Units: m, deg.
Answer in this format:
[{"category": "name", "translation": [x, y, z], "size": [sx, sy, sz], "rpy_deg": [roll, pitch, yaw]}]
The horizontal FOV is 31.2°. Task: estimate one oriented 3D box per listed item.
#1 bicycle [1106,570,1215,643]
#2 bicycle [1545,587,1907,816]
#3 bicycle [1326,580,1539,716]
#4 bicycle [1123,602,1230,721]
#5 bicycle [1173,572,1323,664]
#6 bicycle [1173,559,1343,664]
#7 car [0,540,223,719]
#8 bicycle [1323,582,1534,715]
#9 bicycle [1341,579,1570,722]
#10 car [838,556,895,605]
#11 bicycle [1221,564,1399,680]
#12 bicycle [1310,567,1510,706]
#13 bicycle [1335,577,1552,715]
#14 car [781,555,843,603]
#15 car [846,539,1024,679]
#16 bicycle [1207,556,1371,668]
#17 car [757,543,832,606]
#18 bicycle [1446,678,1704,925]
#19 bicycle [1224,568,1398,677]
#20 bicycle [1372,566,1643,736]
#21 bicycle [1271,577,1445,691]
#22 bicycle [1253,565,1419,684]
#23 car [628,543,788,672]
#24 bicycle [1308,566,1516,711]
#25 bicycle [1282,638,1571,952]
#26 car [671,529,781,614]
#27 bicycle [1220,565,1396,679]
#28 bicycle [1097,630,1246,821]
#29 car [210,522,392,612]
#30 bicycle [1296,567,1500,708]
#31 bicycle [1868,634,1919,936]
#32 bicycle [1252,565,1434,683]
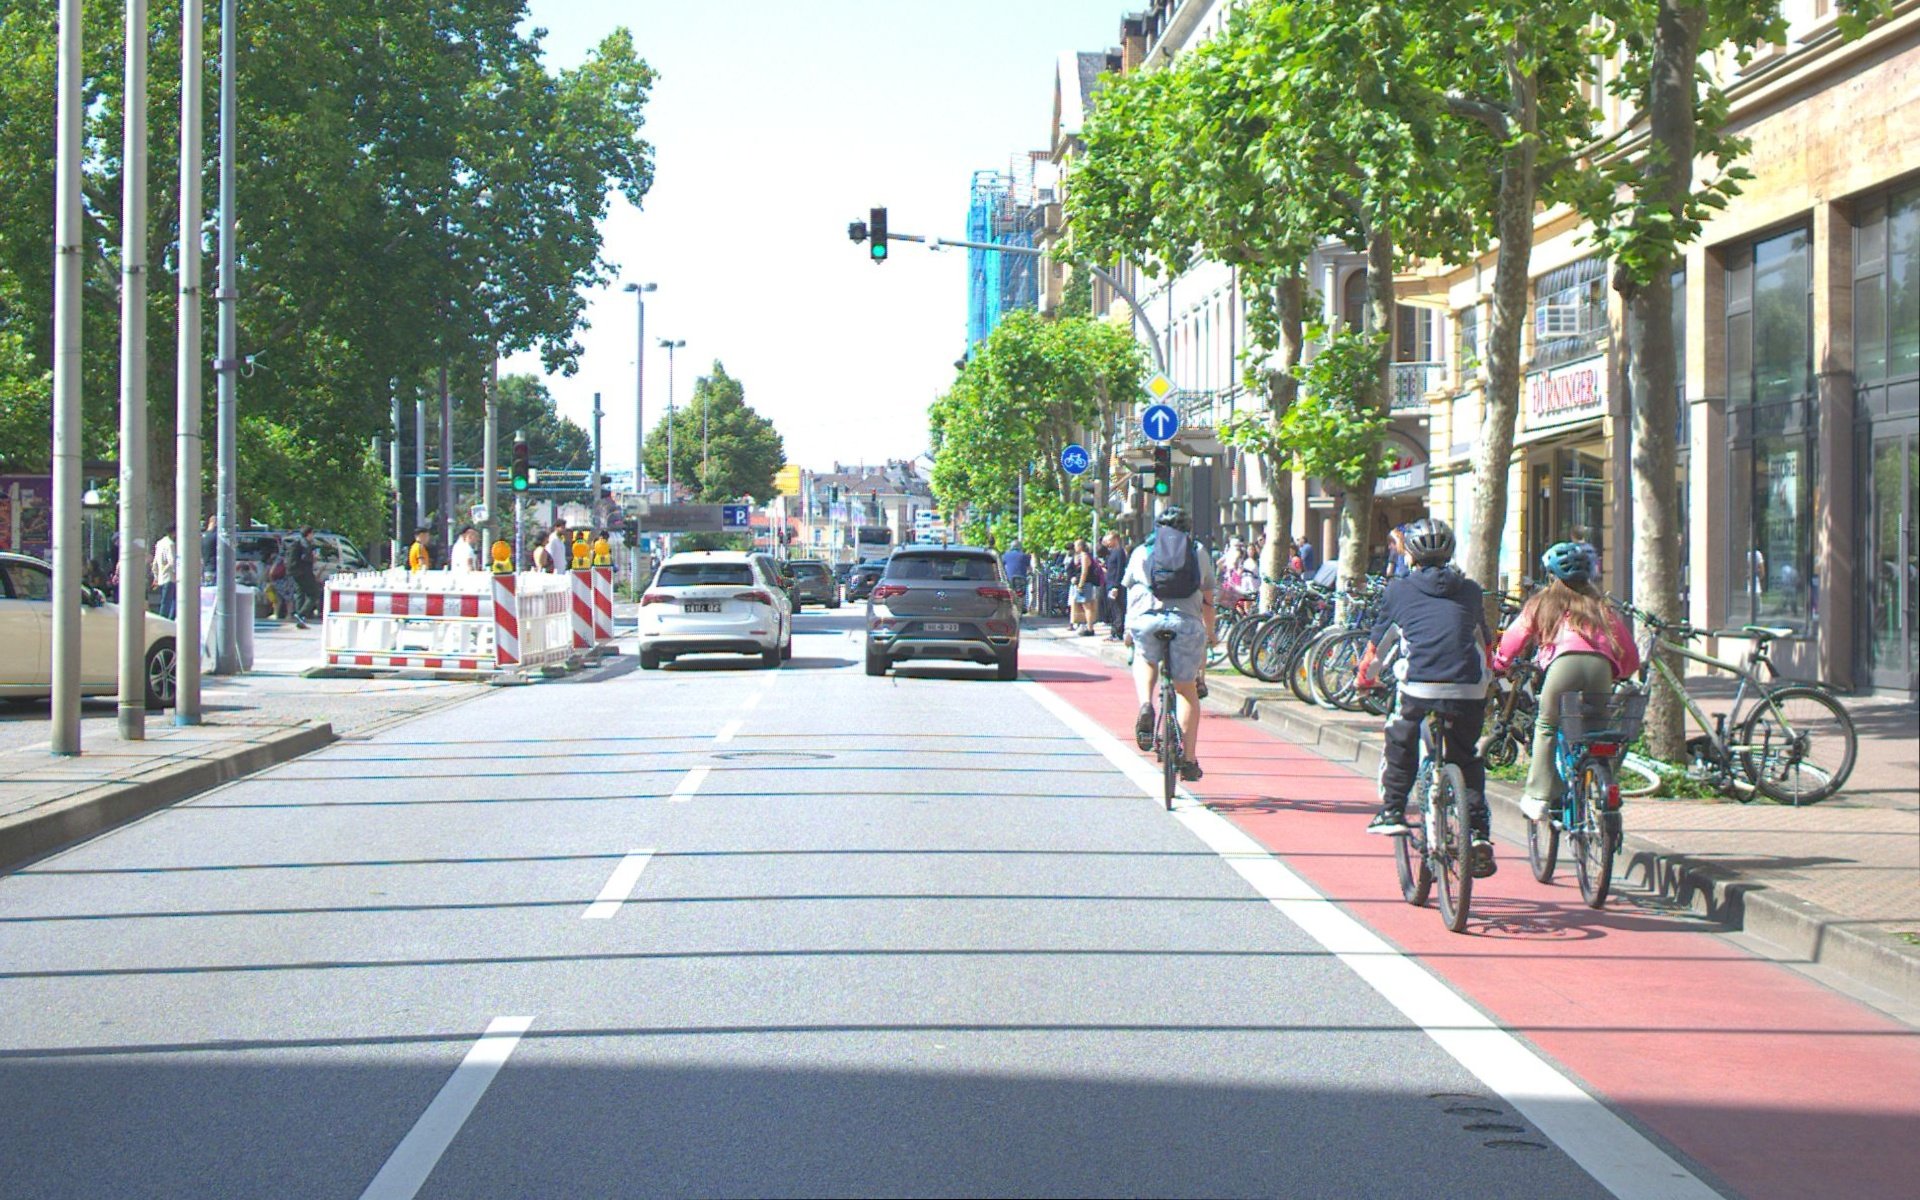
[{"category": "bicycle", "translation": [3.054, 0.091, 52.484], "size": [0.600, 1.078, 1.839], "rpy_deg": [-2, 1, -36]}, {"category": "bicycle", "translation": [4.233, 0.552, 19.100], "size": [1.840, 1.182, 0.670], "rpy_deg": [2, 1, 4]}, {"category": "bicycle", "translation": [3.970, 0.399, 28.944], "size": [1.728, 1.105, 0.402], "rpy_deg": [1, 1, 1]}, {"category": "bicycle", "translation": [1.969, 0.545, 31.548], "size": [0.774, 1.002, 2.330], "rpy_deg": [0, 1, -1]}, {"category": "bicycle", "translation": [3.573, 0.216, 42.685], "size": [1.781, 1.118, 0.563], "rpy_deg": [0, 1, -4]}, {"category": "bicycle", "translation": [3.622, 0.138, 41.804], "size": [1.932, 1.253, 0.705], "rpy_deg": [1, 1, -21]}, {"category": "car", "translation": [-8.838, 0.228, 30.463], "size": [1.894, 1.536, 4.855], "rpy_deg": [2, 1, 26]}, {"category": "bicycle", "translation": [3.992, 0.409, 29.364], "size": [1.728, 1.105, 0.477], "rpy_deg": [1, 1, 1]}, {"category": "bicycle", "translation": [3.979, 0.399, 27.677], "size": [1.728, 1.105, 0.736], "rpy_deg": [1, 1, 1]}, {"category": "car", "translation": [-3.477, -0.736, 127.397], "size": [1.845, 1.662, 4.001], "rpy_deg": [2, 1, -5]}, {"category": "bicycle", "translation": [3.752, 0.231, 36.887], "size": [1.844, 1.197, 0.545], "rpy_deg": [1, 1, 1]}, {"category": "bicycle", "translation": [4.043, 0.327, 30.941], "size": [1.728, 1.213, 0.477], "rpy_deg": [1, 1, 1]}, {"category": "bicycle", "translation": [4.006, 0.377, 28.530], "size": [1.728, 1.105, 0.402], "rpy_deg": [1, 1, 1]}, {"category": "car", "translation": [-4.524, -0.647, 105.359], "size": [1.845, 1.409, 4.000], "rpy_deg": [1, 1, -2]}, {"category": "car", "translation": [-0.343, 0.066, 40.970], "size": [1.845, 1.554, 4.001], "rpy_deg": [1, 1, -4]}, {"category": "bicycle", "translation": [3.947, 0.144, 41.213], "size": [1.820, 1.304, 0.689], "rpy_deg": [1, 1, -21]}, {"category": "car", "translation": [-4.217, -0.667, 87.872], "size": [1.845, 1.554, 4.000], "rpy_deg": [1, 1, -2]}, {"category": "bicycle", "translation": [2.655, 0.848, 15.057], "size": [0.600, 0.922, 2.088], "rpy_deg": [1, 1, -4]}, {"category": "bicycle", "translation": [3.874, 0.247, 38.026], "size": [1.844, 1.160, 0.659], "rpy_deg": [1, 1, 1]}, {"category": "bicycle", "translation": [4.156, 0.377, 26.198], "size": [1.931, 1.244, 0.736], "rpy_deg": [1, 1, 1]}, {"category": "bicycle", "translation": [3.944, 0.330, 34.149], "size": [1.649, 1.091, 0.607], "rpy_deg": [1, 1, 1]}, {"category": "bicycle", "translation": [3.896, 0.251, 35.670], "size": [1.649, 1.197, 0.474], "rpy_deg": [1, 1, 1]}, {"category": "car", "translation": [-3.180, 0.058, 44.042], "size": [1.845, 1.554, 4.000], "rpy_deg": [0, 1, -1]}, {"category": "bicycle", "translation": [3.900, 0.328, 29.722], "size": [1.728, 1.213, 0.477], "rpy_deg": [1, 1, 1]}, {"category": "bicycle", "translation": [1.874, 0.755, 14.119], "size": [0.698, 1.123, 2.082], "rpy_deg": [2, 1, -5]}, {"category": "car", "translation": [-4.118, -0.525, 60.950], "size": [1.845, 1.444, 4.001], "rpy_deg": [0, 1, -2]}, {"category": "bicycle", "translation": [3.774, 0.231, 37.393], "size": [1.844, 1.197, 0.608], "rpy_deg": [1, 1, 1]}, {"category": "bicycle", "translation": [1.191, 0.692, 19.752], "size": [0.630, 0.976, 2.089], "rpy_deg": [1, 1, -2]}, {"category": "car", "translation": [-14.760, -0.724, 77.320], "size": [1.861, 1.948, 4.756], "rpy_deg": [1, 0, 19]}, {"category": "bicycle", "translation": [3.871, 0.327, 30.447], "size": [1.728, 1.213, 0.477], "rpy_deg": [1, 1, 1]}, {"category": "bicycle", "translation": [4.457, 0.705, 12.996], "size": [1.840, 1.093, 0.794], "rpy_deg": [1, 1, 4]}, {"category": "bicycle", "translation": [4.012, 0.249, 36.086], "size": [1.844, 1.197, 0.474], "rpy_deg": [1, 1, 1]}]
